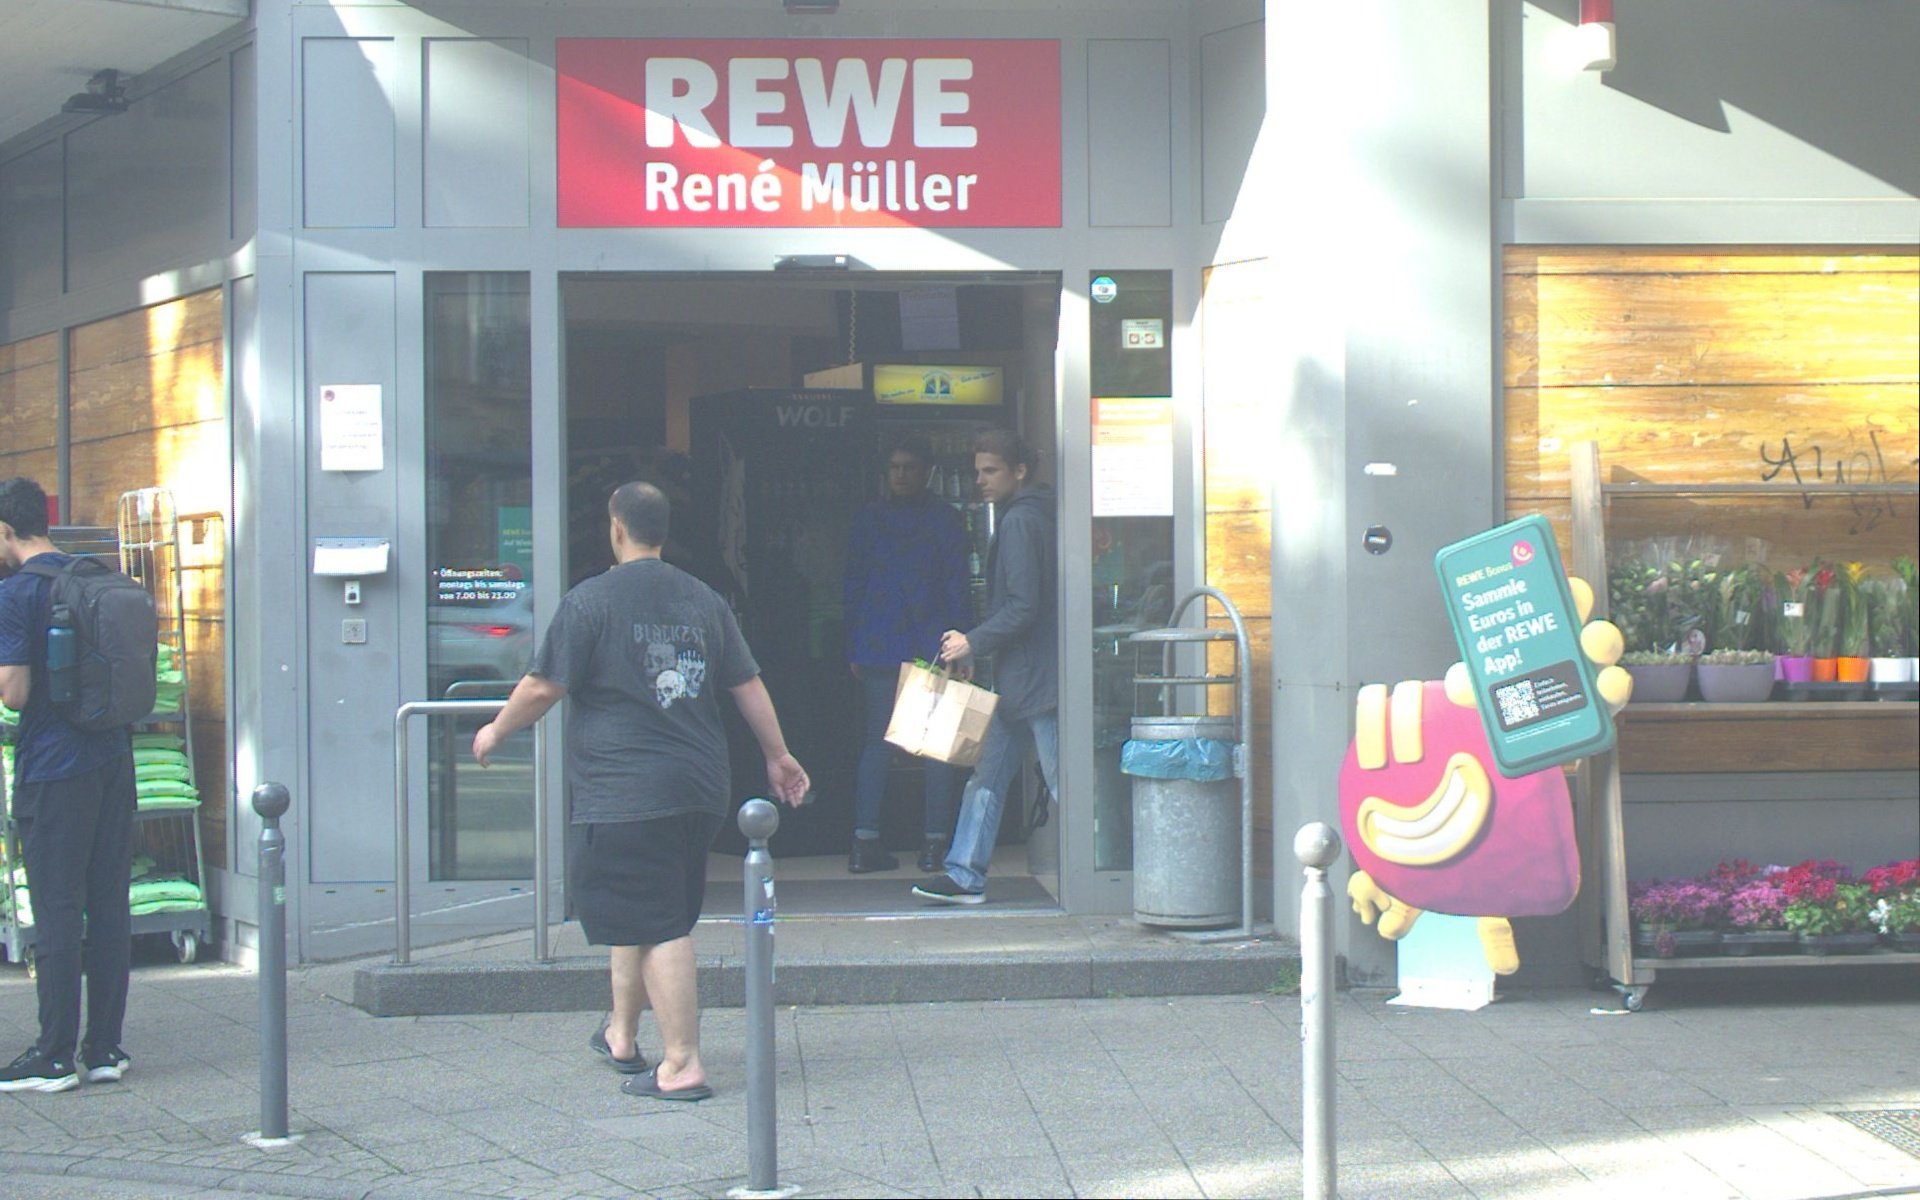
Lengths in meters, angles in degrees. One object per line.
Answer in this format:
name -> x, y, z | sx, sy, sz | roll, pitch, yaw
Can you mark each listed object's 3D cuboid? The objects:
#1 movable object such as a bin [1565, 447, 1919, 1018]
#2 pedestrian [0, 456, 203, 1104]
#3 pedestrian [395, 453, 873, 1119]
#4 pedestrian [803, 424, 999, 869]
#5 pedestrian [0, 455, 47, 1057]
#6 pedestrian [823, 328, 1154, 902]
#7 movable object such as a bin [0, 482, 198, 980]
movable object such as a bin -> 2.783, 0.390, 10.950 | 1.544, 1.748, 0.691 | 0, 3, -6
pedestrian -> -2.588, 0.492, 9.959 | 0.653, 1.791, 0.659 | -3, 3, -15
pedestrian -> -0.933, 0.479, 9.751 | 0.849, 1.741, 1.049 | -4, 2, -38
pedestrian -> -0.227, 0.178, 13.965 | 0.763, 1.747, 0.930 | 0, 1, 1
pedestrian -> -3.247, 0.478, 10.326 | 0.712, 1.791, 0.632 | -2, 3, 5
pedestrian -> 0.121, 0.041, 12.537 | 1.031, 2.006, 0.863 | 0, 2, 12
movable object such as a bin -> -3.654, 0.448, 13.220 | 0.779, 1.738, 2.423 | -1, 0, -28
